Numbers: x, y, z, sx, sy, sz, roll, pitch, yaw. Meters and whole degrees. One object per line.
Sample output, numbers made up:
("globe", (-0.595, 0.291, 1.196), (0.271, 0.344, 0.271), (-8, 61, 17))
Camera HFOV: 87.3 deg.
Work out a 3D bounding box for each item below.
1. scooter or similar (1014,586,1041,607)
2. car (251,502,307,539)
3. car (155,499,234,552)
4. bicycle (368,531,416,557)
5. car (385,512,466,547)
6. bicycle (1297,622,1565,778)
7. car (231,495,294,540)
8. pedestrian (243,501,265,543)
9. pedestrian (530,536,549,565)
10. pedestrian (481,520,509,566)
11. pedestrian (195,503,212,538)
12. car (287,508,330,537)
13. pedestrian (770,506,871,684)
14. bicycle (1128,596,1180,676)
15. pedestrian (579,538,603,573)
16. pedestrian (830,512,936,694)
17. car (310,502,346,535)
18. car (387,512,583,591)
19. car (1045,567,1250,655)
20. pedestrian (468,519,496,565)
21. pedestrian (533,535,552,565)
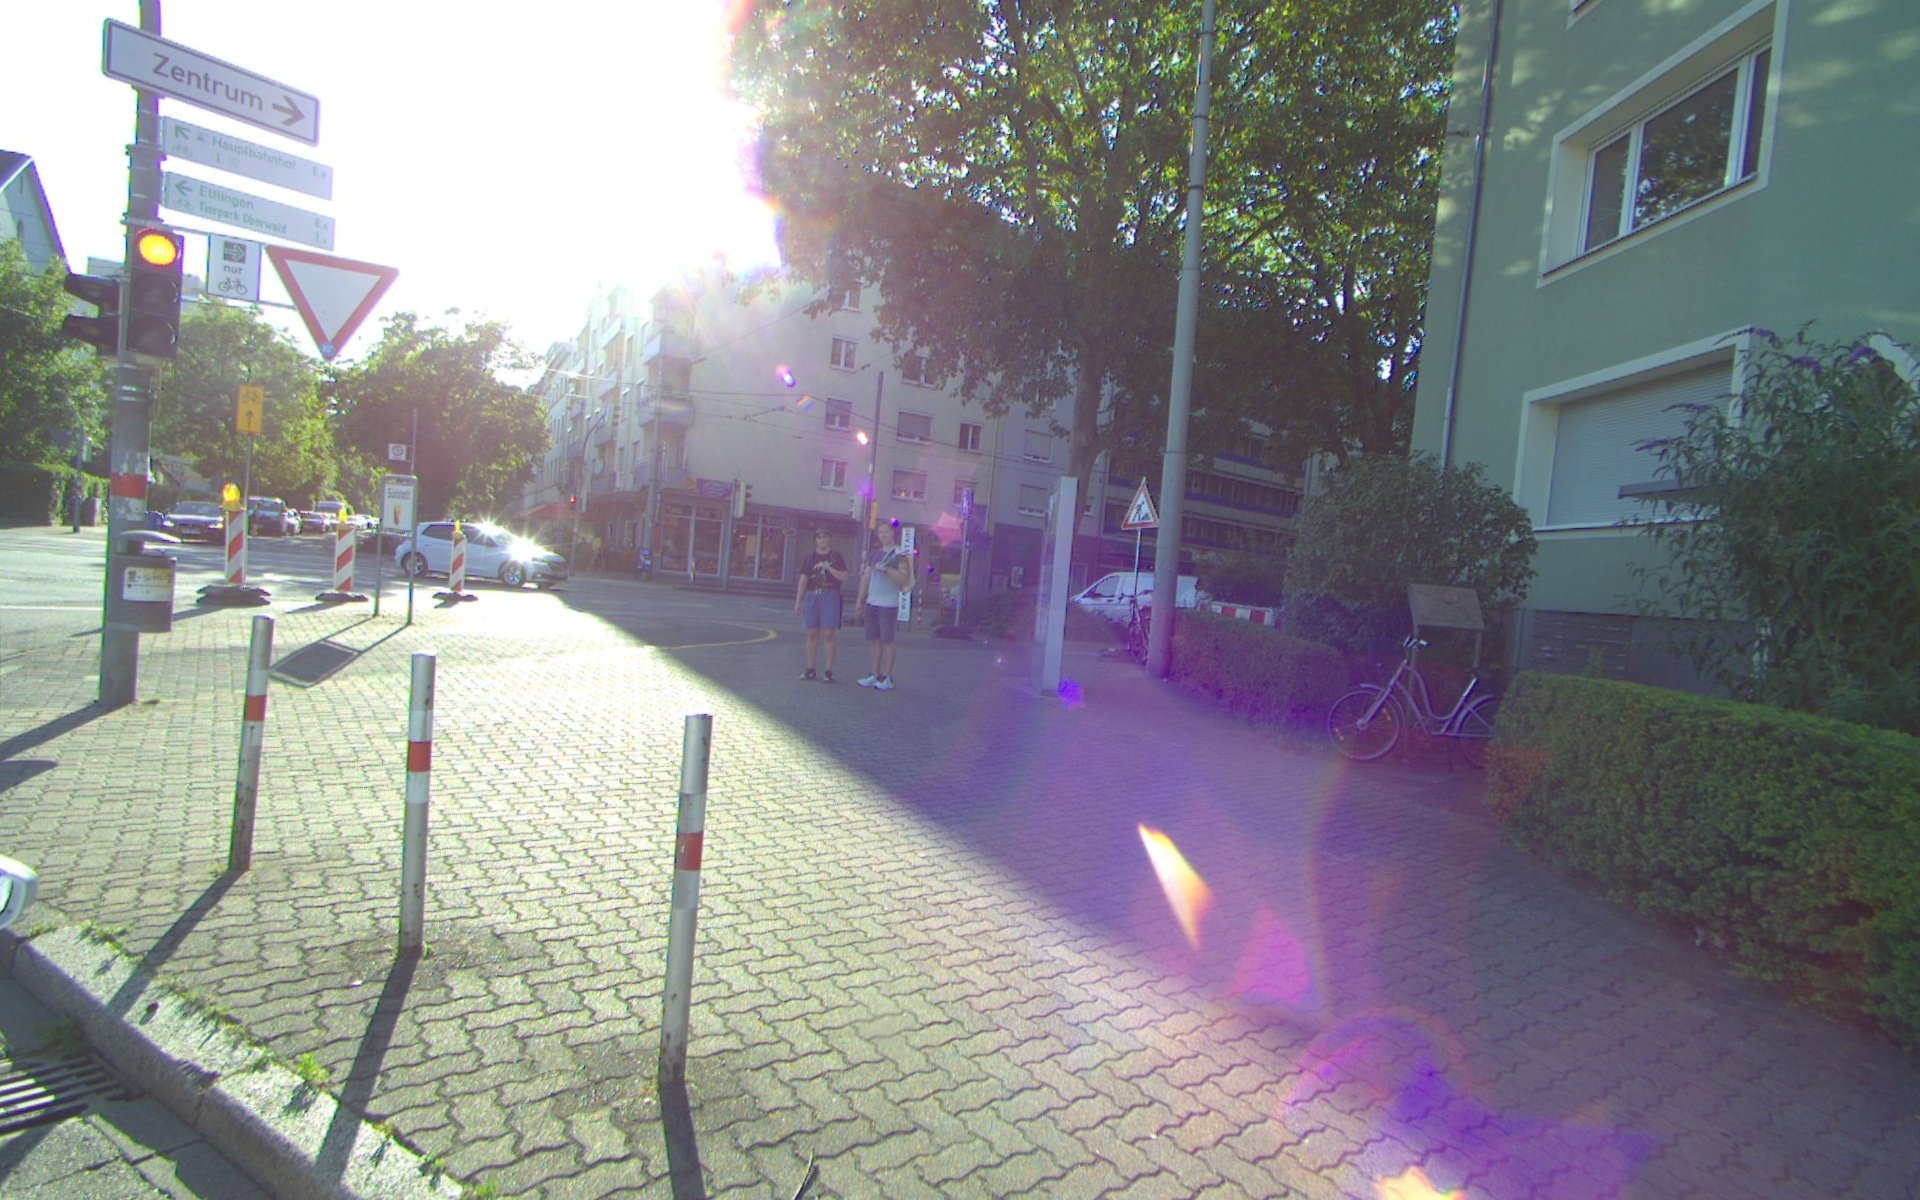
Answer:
("scooter or similar", (3.503, -0.190, 52.150), (1.421, 0.966, 0.462), (4, 3, -44))
("car", (-40.161, -4.685, 59.455), (2.336, 1.818, 5.265), (4, 2, -31))
("car", (-26.314, -2.545, 34.692), (1.879, 1.586, 4.352), (2, 3, -34))
("bicycle", (-23.701, -2.336, 42.011), (1.708, 0.945, 0.667), (5, 2, -29))
("car", (-39.350, -5.158, 74.114), (5.050, 1.948, 2.344), (5, 0, -32))
("bicycle", (3.954, 0.826, 8.546), (1.897, 1.071, 0.521), (6, 2, 5))
("car", (-37.330, -4.402, 53.983), (2.336, 2.040, 5.265), (4, 2, -31))
("pedestrian", (-33.011, -3.650, 47.039), (0.656, 1.864, 0.677), (4, 3, -30))
("pedestrian", (-21.460, -2.529, 51.356), (0.803, 1.381, 0.908), (4, 2, -23))
("pedestrian", (-18.560, -2.268, 40.197), (0.681, 1.774, 0.793), (5, 2, -7))
("pedestrian", (-39.407, -4.136, 52.401), (0.575, 1.754, 0.602), (4, 3, -34))
("car", (-47.037, -5.585, 72.766), (2.336, 1.818, 5.265), (4, 2, -31))
("pedestrian", (-1.474, -0.053, 10.721), (0.680, 1.774, 0.794), (6, 2, 13))
("bicycle", (2.866, 0.498, 15.000), (0.511, 1.071, 1.933), (6, 2, 7))
("pedestrian", (-17.918, -2.159, 48.808), (0.806, 1.565, 0.905), (3, 3, -35))
("pedestrian", (-0.791, 0.029, 10.518), (0.680, 1.774, 0.794), (6, 2, 21))
("car", (-54.389, -6.988, 86.631), (2.336, 2.548, 5.265), (4, 2, -31))
("car", (-11.748, -1.177, 25.036), (3.923, 1.506, 1.896), (6, 2, 7))
("car", (4.712, 0.226, 26.129), (1.913, 1.849, 5.185), (5, 0, -37))
("pedestrian", (-19.514, -2.369, 41.101), (0.706, 1.774, 0.793), (5, 2, -7))
("pedestrian", (-20.820, -2.489, 50.200), (0.803, 1.381, 0.908), (4, 2, -23))
